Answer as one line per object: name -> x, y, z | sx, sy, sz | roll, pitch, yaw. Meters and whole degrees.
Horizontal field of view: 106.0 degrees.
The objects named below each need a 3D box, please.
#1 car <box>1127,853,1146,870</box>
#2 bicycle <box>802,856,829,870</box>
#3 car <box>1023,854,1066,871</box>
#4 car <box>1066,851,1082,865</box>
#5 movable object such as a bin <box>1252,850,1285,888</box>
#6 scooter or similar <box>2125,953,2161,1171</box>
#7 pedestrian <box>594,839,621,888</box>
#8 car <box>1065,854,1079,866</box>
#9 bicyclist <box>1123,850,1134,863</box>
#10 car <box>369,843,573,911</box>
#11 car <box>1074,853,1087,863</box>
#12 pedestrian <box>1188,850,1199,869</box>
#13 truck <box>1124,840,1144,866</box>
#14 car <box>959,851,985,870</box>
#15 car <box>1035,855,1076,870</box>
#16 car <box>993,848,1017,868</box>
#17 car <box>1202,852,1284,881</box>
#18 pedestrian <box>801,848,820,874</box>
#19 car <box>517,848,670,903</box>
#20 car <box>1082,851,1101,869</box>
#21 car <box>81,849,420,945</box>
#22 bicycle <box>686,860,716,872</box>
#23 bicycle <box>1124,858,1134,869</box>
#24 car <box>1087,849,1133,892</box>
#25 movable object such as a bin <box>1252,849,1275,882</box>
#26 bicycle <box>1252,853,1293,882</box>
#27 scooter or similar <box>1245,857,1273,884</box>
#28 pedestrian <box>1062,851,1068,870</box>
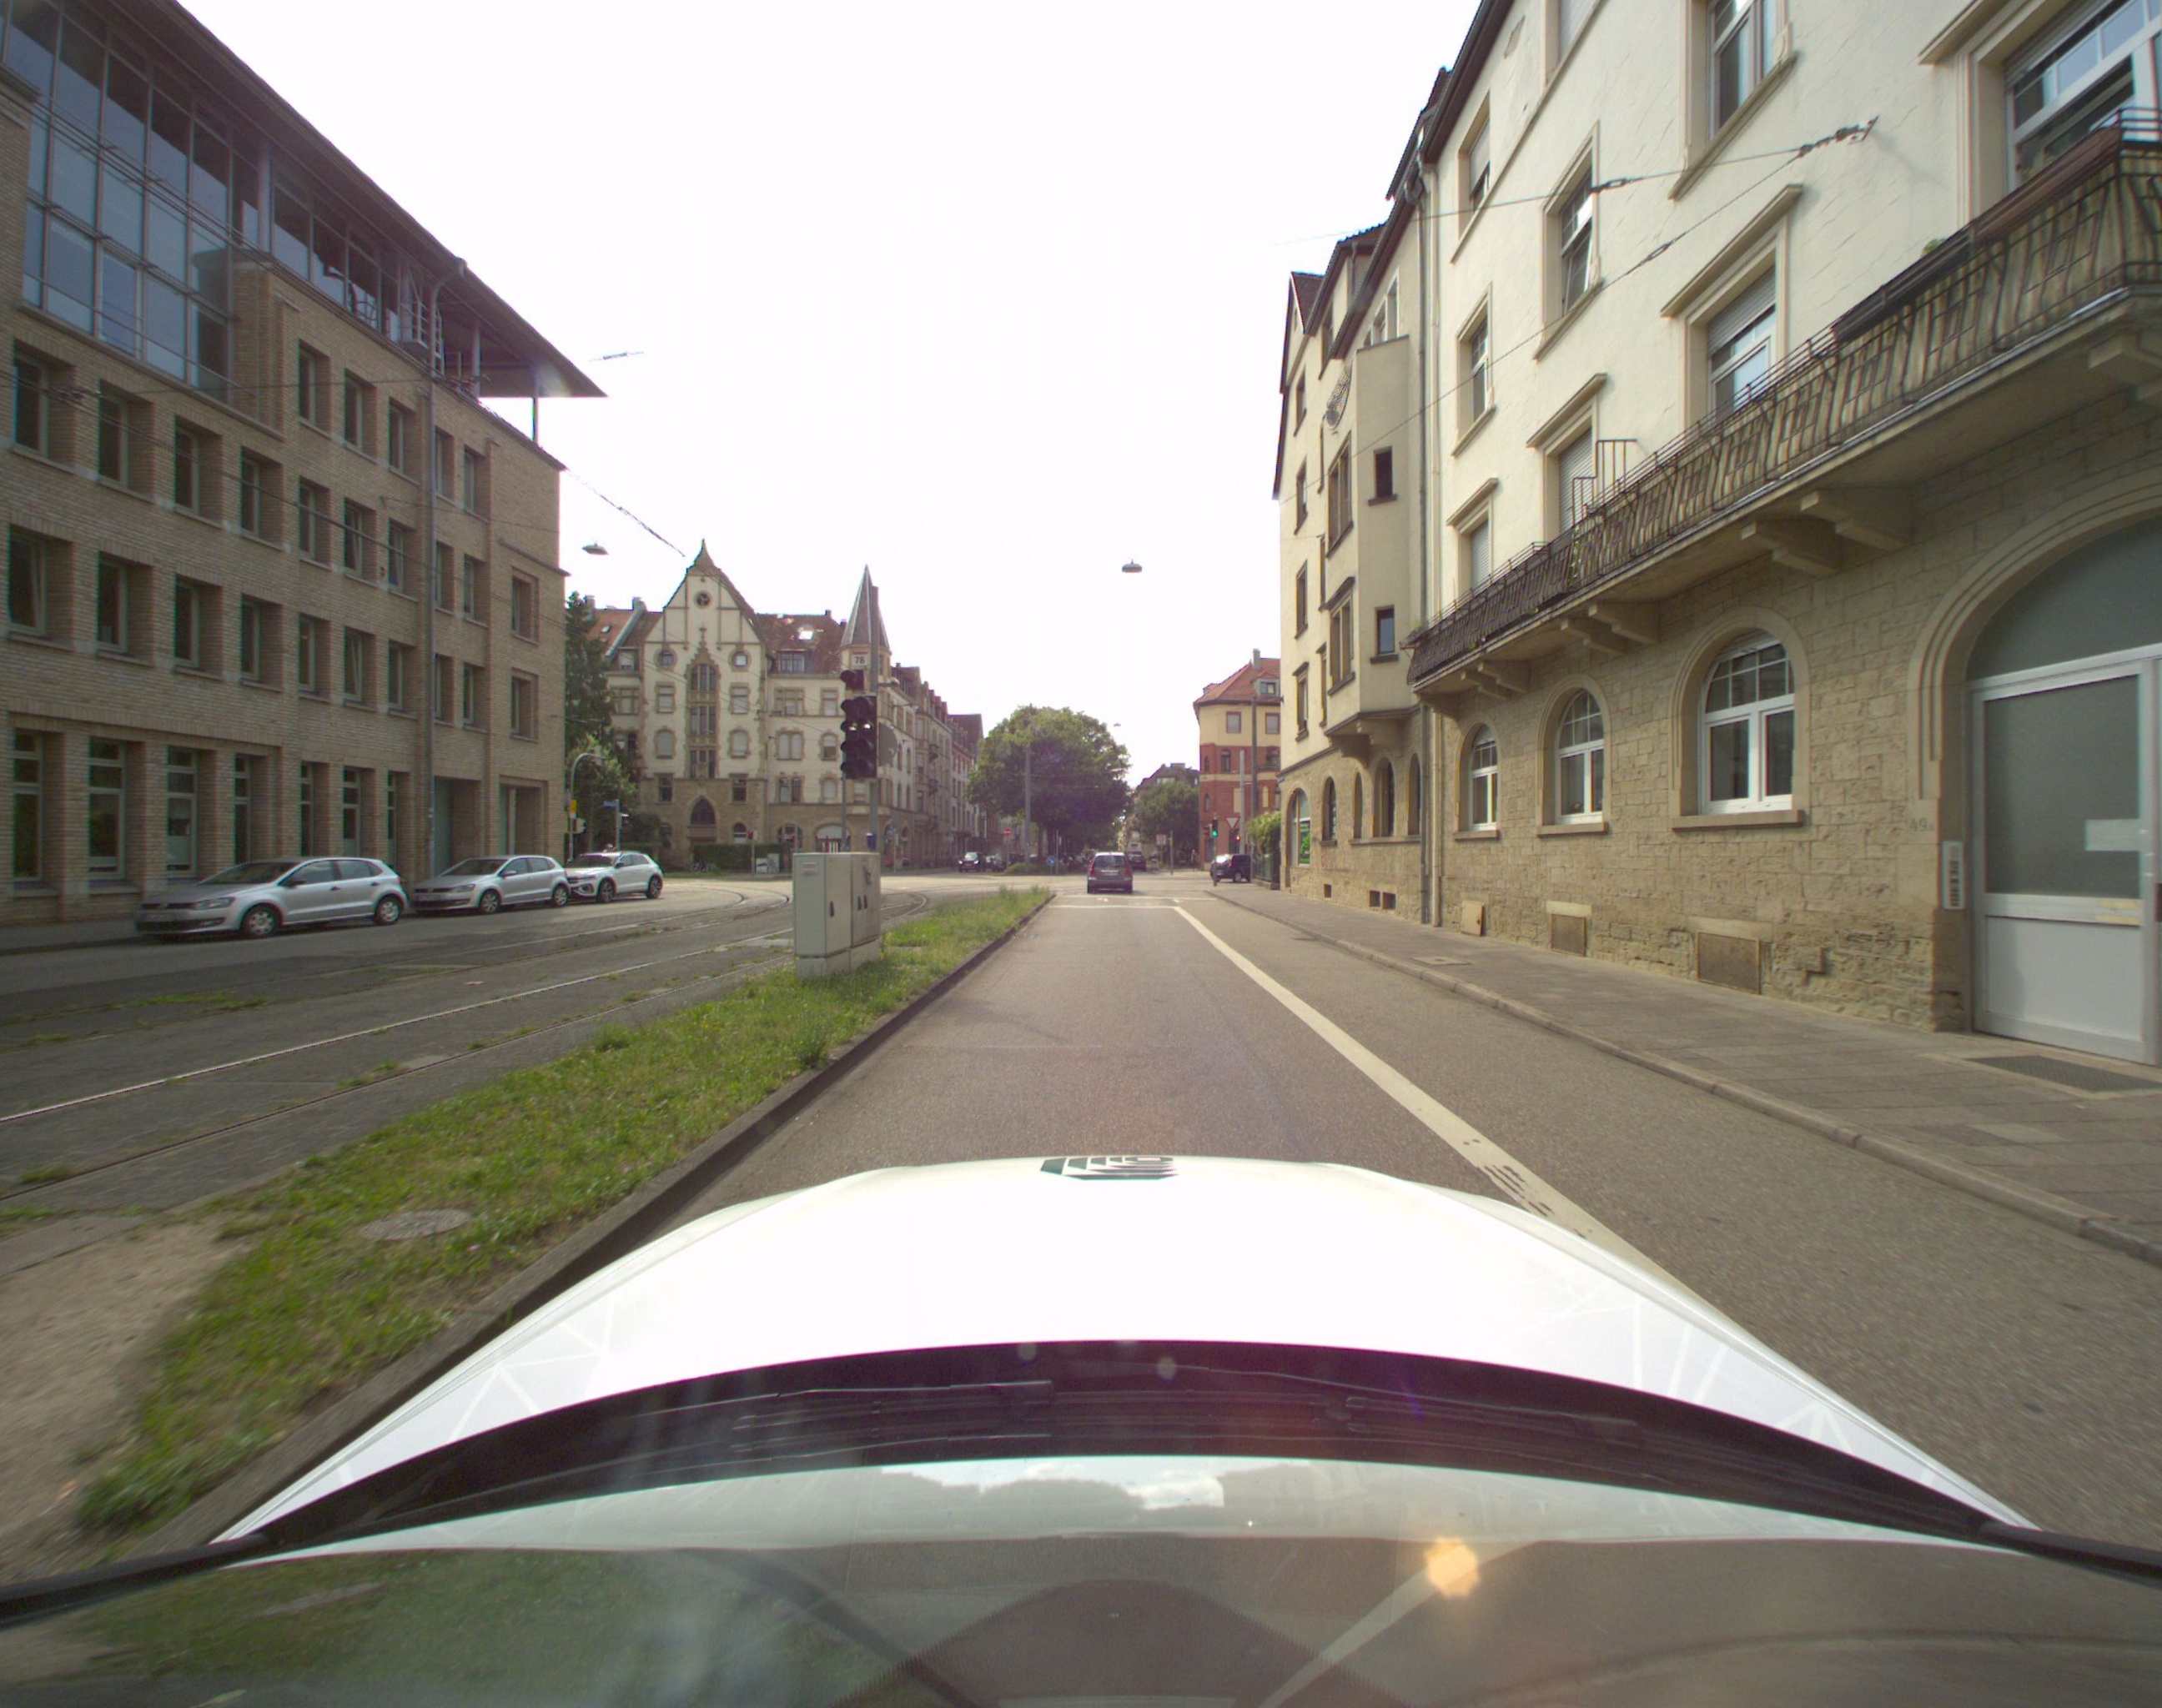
car -> 5.588, 0.731, 81.221 | 1.743, 1.633, 3.505 | 0, 0, 6
bicycle -> -20.908, 0.719, 64.263 | 1.915, 1.081, 0.776 | -1, 0, -9
car -> -3.297, 0.721, 73.591 | 1.984, 1.495, 3.955 | 0, 0, -37
car -> -0.823, 0.499, 97.897 | 1.745, 1.633, 3.502 | 0, 0, 3
movable object such as a bin -> 7.825, 0.594, 34.088 | 1.045, 1.539, 2.102 | -1, 0, 4
scooter or similar -> 5.316, 0.968, 3.445 | 0.590, 1.002, 0.906 | -4, 0, 3
pedestrian -> -17.764, 0.351, 30.580 | 0.763, 1.795, 0.953 | 0, 0, -23
car -> -1.192, 0.824, 111.681 | 1.745, 1.517, 3.502 | 0, 0, 3
bicyclist -> 4.045, 0.212, 68.730 | 0.832, 1.082, 1.402 | -1, 0, 6
car -> -15.027, 0.520, 20.398 | 1.925, 1.530, 4.018 | 0, 0, 3
car -> -0.044, 0.590, 118.530 | 1.745, 1.517, 3.502 | 0, 0, 3
pedestrian -> 9.397, 0.455, 68.047 | 0.864, 1.656, 0.738 | 0, 0, 6
truck -> 6.197, -0.133, 94.191 | 2.112, 2.970, 4.007 | -1, 0, 6
car -> -9.766, 0.600, 73.468 | 1.989, 1.618, 3.995 | -1, 0, -3
car -> -2.424, 0.792, 76.185 | 1.984, 1.339, 3.955 | 0, 0, -37
car -> -6.970, 0.347, 75.043 | 1.989, 1.728, 3.995 | -1, 0, -3
car -> 8.707, 0.648, 43.777 | 4.007, 1.442, 1.970 | 0, 0, -26
pedestrian -> -18.355, 0.475, 55.277 | 1.029, 1.722, 0.767 | 0, 0, -42
car -> -14.719, 0.608, 24.915 | 1.925, 1.535, 4.261 | 0, 0, 3
car -> 1.040, 0.615, 80.103 | 1.715, 1.706, 3.680 | -1, 0, 3
car -> -15.040, 0.676, 15.167 | 1.843, 1.530, 4.214 | 0, 0, 3
bicycle -> -27.433, 0.889, 58.823 | 1.915, 0.848, 0.469 | -1, 0, -9
bicycle -> 4.056, 0.788, 68.759 | 0.745, 0.958, 2.302 | -1, 0, 6
car -> 1.196, 0.609, 32.379 | 1.715, 1.605, 3.680 | -1, 0, 3
movable object such as a bin -> 8.163, 0.513, 36.510 | 0.714, 1.472, 0.980 | 0, 0, -7
bicycle -> 8.790, 0.613, 37.363 | 1.827, 1.329, 0.276 | -1, 0, -9
scooter or similar -> 8.269, 0.762, 37.776 | 1.192, 1.217, 0.462 | -1, 0, -5
pedestrian -> -1.409, 0.571, 71.409 | 0.492, 1.725, 0.653 | 0, 0, -3
